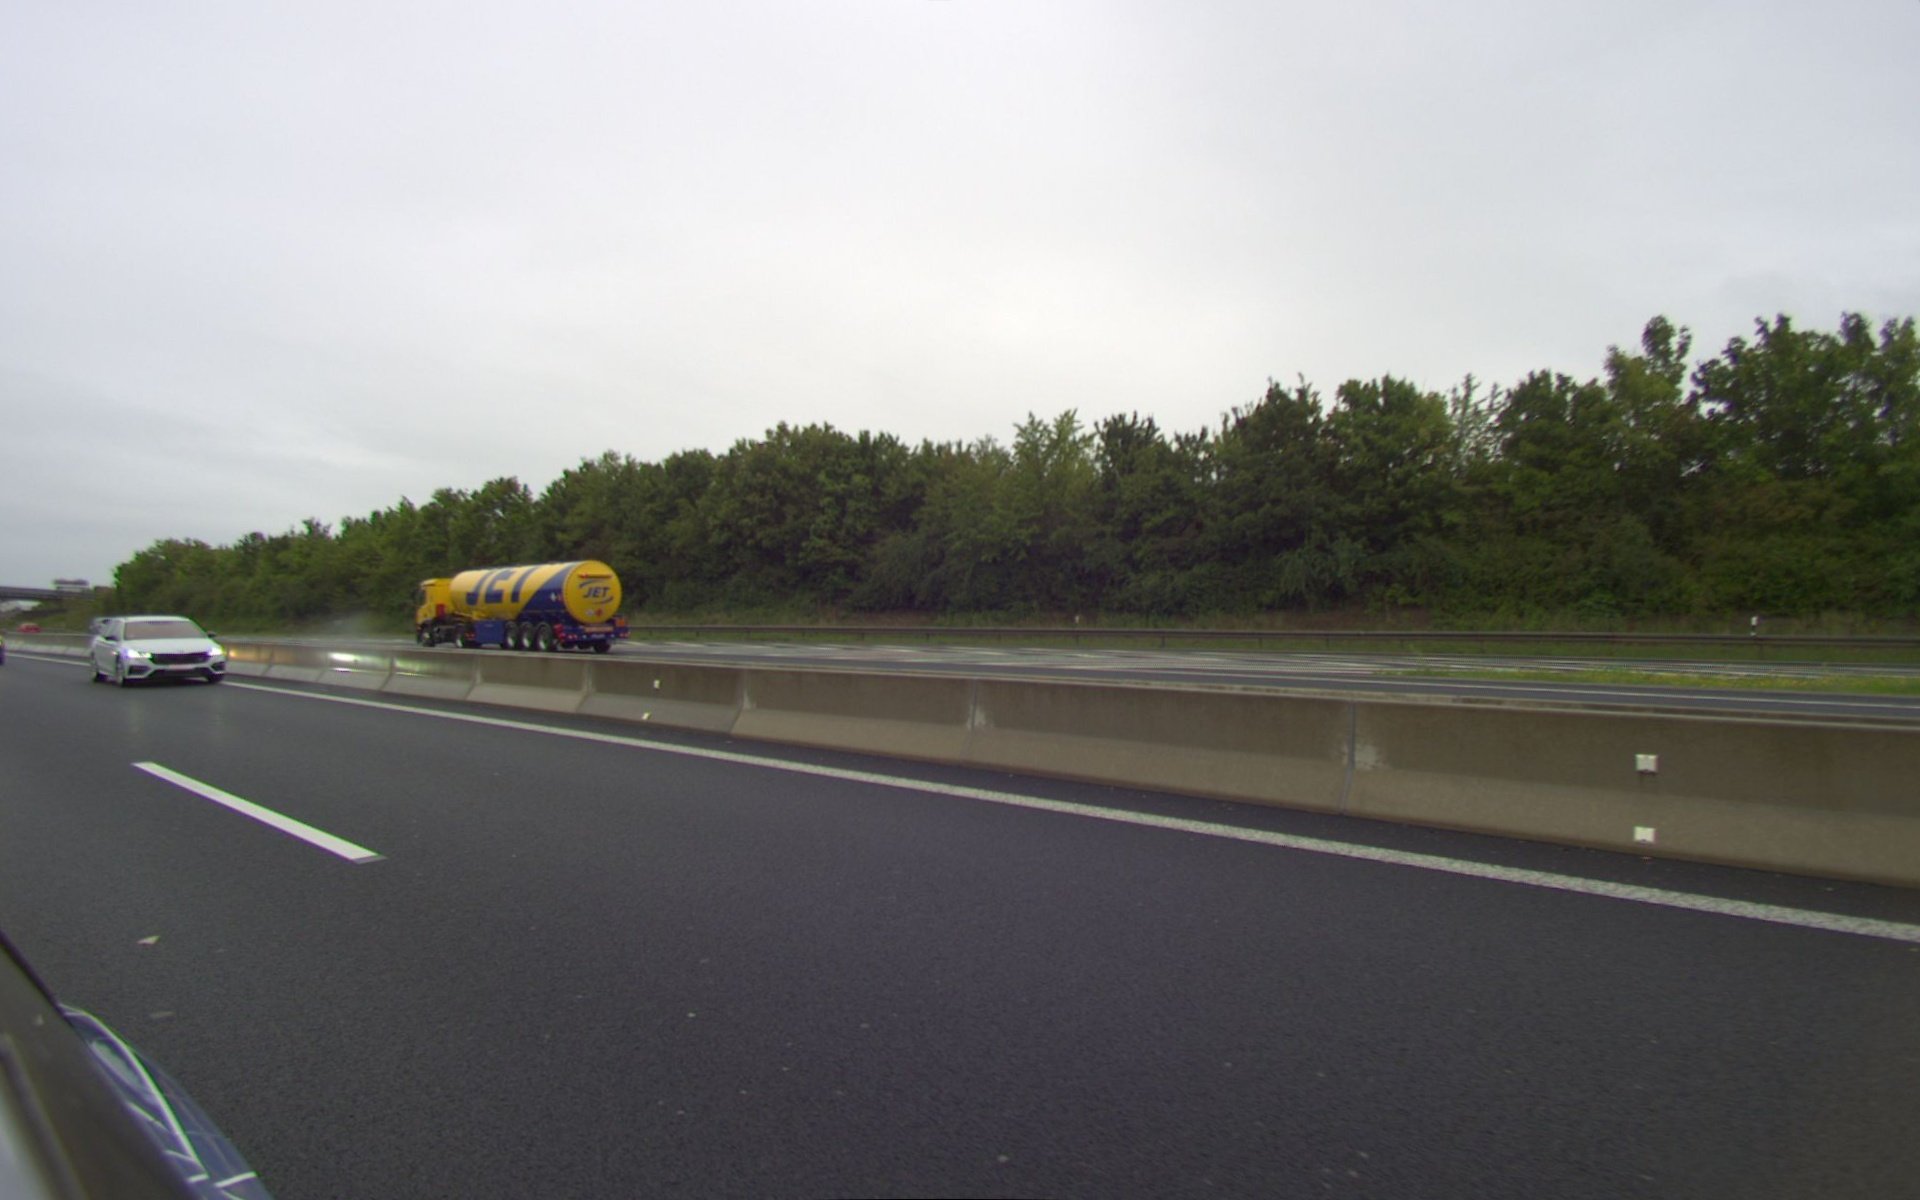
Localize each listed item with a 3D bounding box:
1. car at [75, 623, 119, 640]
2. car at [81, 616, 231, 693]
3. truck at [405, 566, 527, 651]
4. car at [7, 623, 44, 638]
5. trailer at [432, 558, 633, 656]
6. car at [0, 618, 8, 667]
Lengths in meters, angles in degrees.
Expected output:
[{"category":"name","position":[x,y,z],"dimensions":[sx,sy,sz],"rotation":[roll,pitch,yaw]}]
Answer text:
[{"category":"car","position":[-88.054,3.213,103.280],"dimensions":[4.553,1.708,2.163],"rotation":[-1,-1,32]},{"category":"car","position":[-17.612,1.127,22.120],"dimensions":[4.112,1.518,1.880],"rotation":[-2,-2,41]},{"category":"truck","position":[-21.533,0.374,43.995],"dimensions":[5.844,3.424,2.732],"rotation":[-1,0,42]},{"category":"car","position":[-116.002,3.800,125.656],"dimensions":[4.610,1.708,2.164],"rotation":[-1,0,31]},{"category":"trailer","position":[-17.216,0.299,40.103],"dimensions":[11.444,3.424,2.732],"rotation":[-1,0,42]},{"category":"car","position":[-31.882,1.362,32.242],"dimensions":[4.112,1.518,1.880],"rotation":[-2,-2,41]}]
